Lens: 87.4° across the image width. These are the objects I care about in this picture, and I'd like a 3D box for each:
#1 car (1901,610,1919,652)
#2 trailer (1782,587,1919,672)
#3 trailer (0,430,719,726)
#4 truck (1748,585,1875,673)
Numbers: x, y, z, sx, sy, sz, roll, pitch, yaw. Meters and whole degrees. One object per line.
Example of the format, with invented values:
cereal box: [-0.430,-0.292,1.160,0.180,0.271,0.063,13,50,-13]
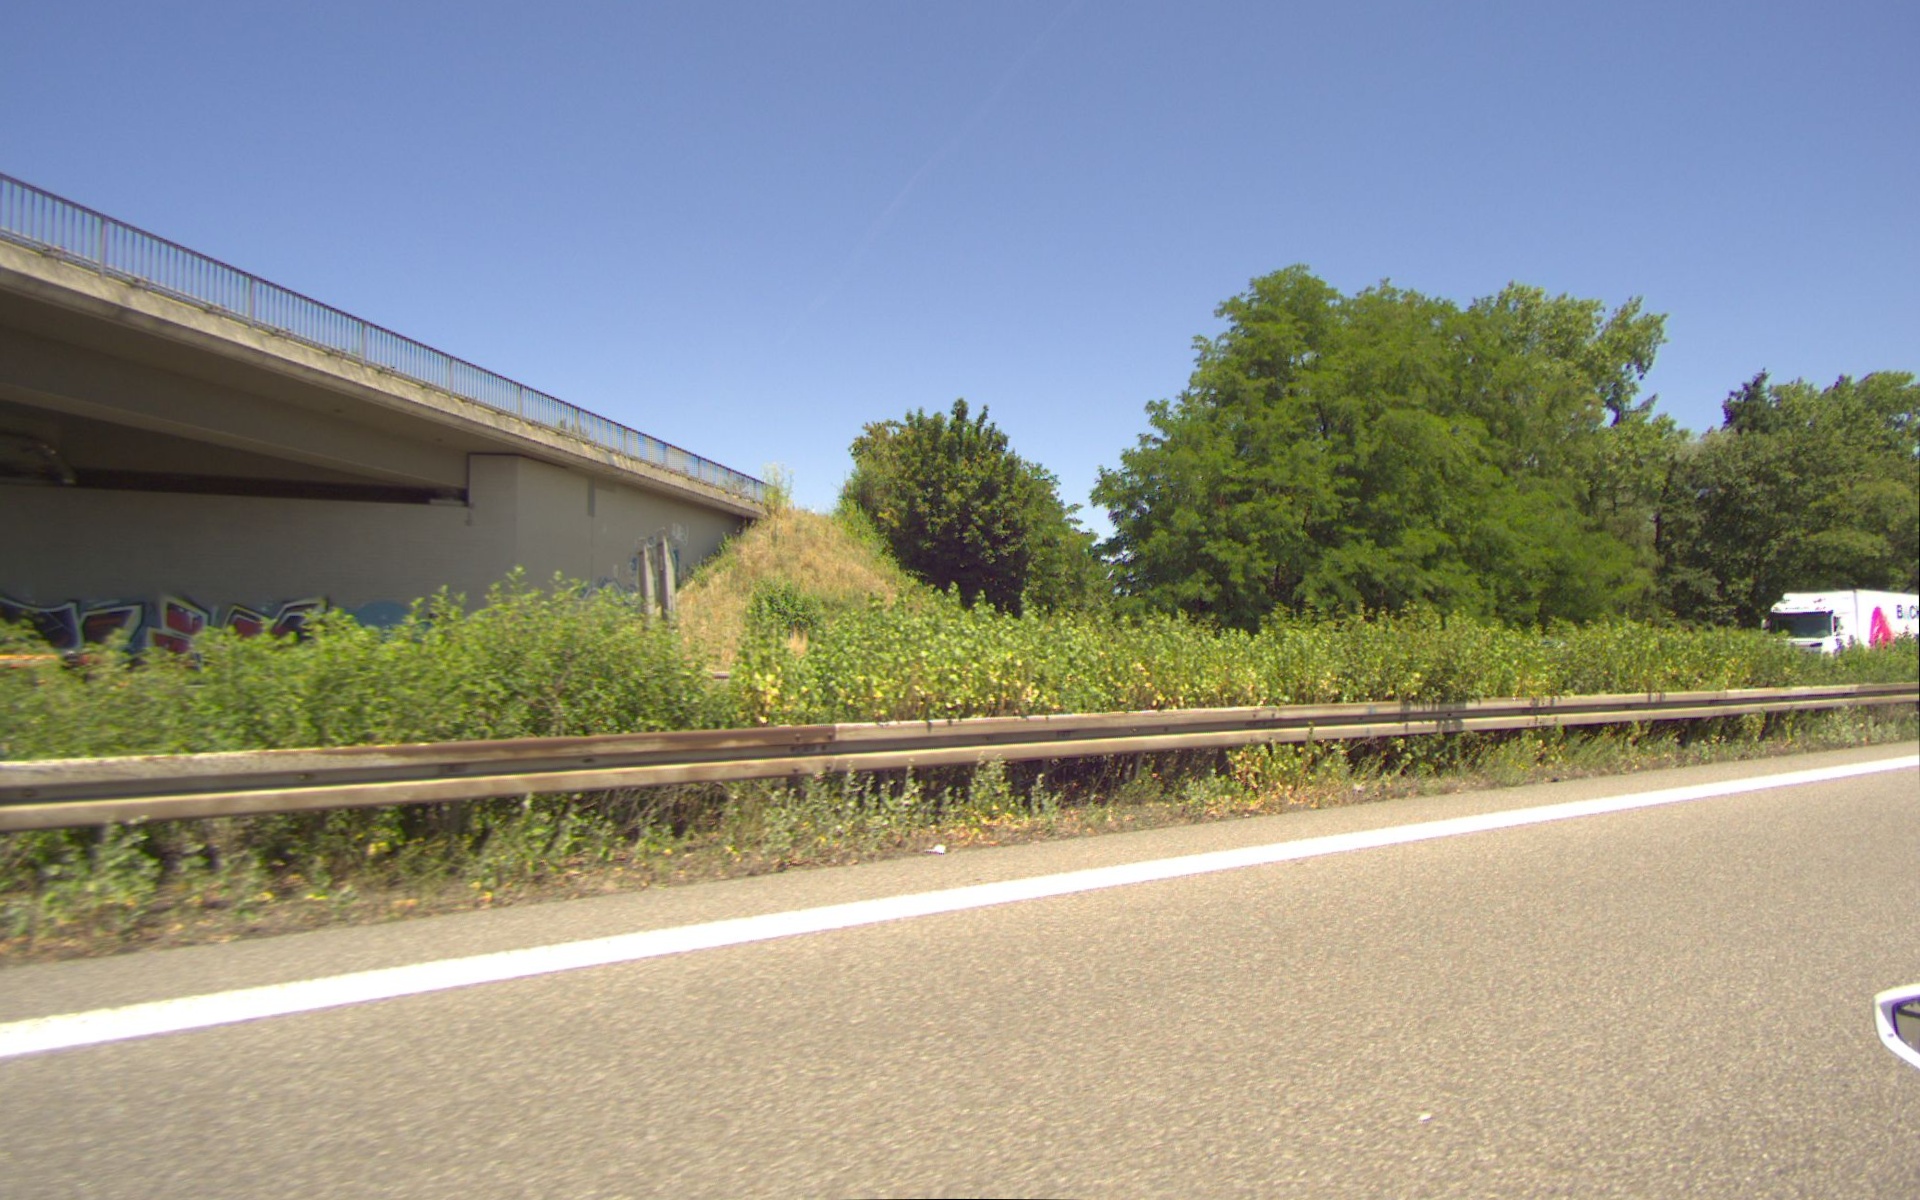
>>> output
car: [44.265,1.405,44.459,5.359,1.804,2.291,1,0,-30]
trailer: [45.248,1.453,49.456,13.766,3.759,2.812,1,0,-31]
trailer: [-11.692,-0.264,15.504,15.401,3.936,2.599,1,0,-31]
truck: [38.606,1.280,45.527,5.056,3.771,2.782,1,0,-30]
